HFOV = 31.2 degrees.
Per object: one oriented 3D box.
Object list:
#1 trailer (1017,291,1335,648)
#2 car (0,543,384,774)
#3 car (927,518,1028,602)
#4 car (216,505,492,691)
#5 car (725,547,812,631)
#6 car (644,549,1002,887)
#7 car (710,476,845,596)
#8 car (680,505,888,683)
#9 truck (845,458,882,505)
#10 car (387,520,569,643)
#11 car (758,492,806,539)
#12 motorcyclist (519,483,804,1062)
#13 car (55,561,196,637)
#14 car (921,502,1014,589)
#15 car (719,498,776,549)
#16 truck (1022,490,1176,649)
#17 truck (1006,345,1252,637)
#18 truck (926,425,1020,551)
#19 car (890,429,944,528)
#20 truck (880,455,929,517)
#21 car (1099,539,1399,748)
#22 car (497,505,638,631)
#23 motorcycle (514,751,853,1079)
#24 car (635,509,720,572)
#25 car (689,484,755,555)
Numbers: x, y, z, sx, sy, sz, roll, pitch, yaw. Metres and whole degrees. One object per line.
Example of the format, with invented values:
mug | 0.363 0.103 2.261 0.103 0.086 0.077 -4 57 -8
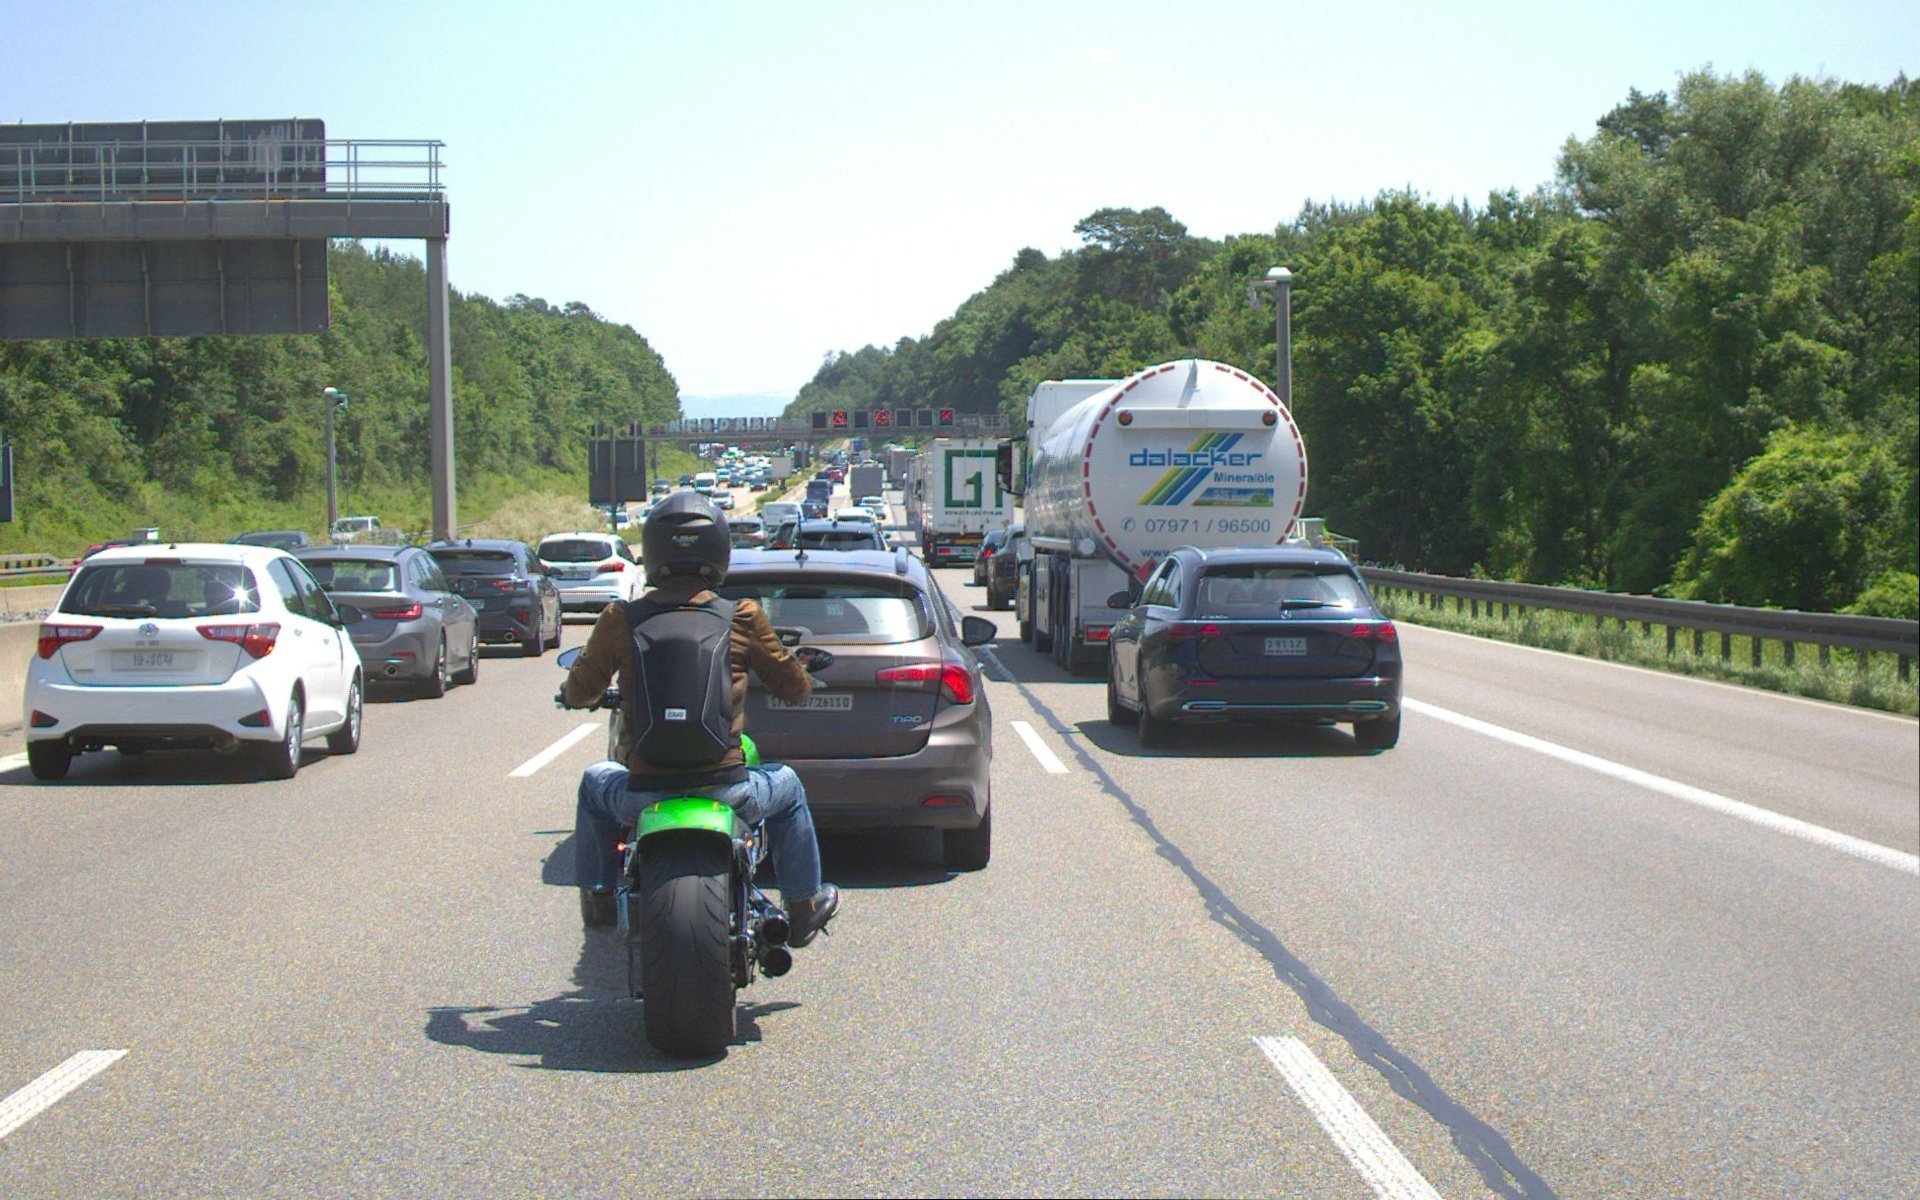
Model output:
trailer | 2.316 -1.361 40.774 2.828 3.658 10.733 0 0 -1
car | -5.041 0.353 23.059 1.776 1.406 4.000 0 0 -1
car | 0.302 -0.734 64.682 1.776 1.522 4.000 0 0 -1
car | -5.785 -0.027 33.311 1.993 1.678 4.330 0 0 -1
car | -4.705 -0.276 84.953 1.993 2.007 4.000 0 0 -1
car | -0.642 0.481 16.852 1.541 1.445 4.000 0 1 -1
car | -2.793 -0.954 53.123 1.993 1.769 4.000 0 0 -2
car | -1.776 -0.065 35.124 1.993 1.705 4.000 0 0 -2
truck | -7.382 -9.036 263.463 2.696 3.394 10.479 -1 1 -1
car | -6.020 -0.227 43.336 1.993 1.459 4.001 0 0 -4
car | -7.876 -3.733 152.691 1.993 2.007 4.000 -1 1 -1
motorcyclist | -0.892 0.502 10.529 0.799 1.682 1.016 0 0 -1
car | -17.083 -0.028 70.547 1.993 1.514 4.000 0 0 -1
car | 0.144 -1.270 81.651 1.993 2.007 4.000 0 0 -3
car | -6.810 -2.451 110.487 1.660 1.594 4.000 0 1 -1
truck | 2.668 -0.653 68.369 2.388 2.969 8.254 0 1 -2
truck | 2.170 -1.380 46.468 2.828 3.658 6.430 0 0 -1
truck | 0.458 -3.532 110.580 2.854 3.808 7.187 0 0 1
car | -1.861 -5.107 146.323 2.167 3.879 9.330 0 0 -1
truck | -3.226 -6.528 198.554 2.696 3.394 10.479 -1 1 -1
car | 2.114 0.297 26.315 1.792 1.453 4.624 0 0 -1
car | -6.450 -0.513 56.920 1.993 2.007 4.000 0 0 -2
motorcycle | -0.816 0.941 10.856 0.936 0.790 2.299 0 1 -1
car | -6.758 -1.406 82.509 1.764 1.437 4.000 0 0 -1
car | -6.799 -2.283 98.445 1.660 1.971 4.000 0 1 -1
